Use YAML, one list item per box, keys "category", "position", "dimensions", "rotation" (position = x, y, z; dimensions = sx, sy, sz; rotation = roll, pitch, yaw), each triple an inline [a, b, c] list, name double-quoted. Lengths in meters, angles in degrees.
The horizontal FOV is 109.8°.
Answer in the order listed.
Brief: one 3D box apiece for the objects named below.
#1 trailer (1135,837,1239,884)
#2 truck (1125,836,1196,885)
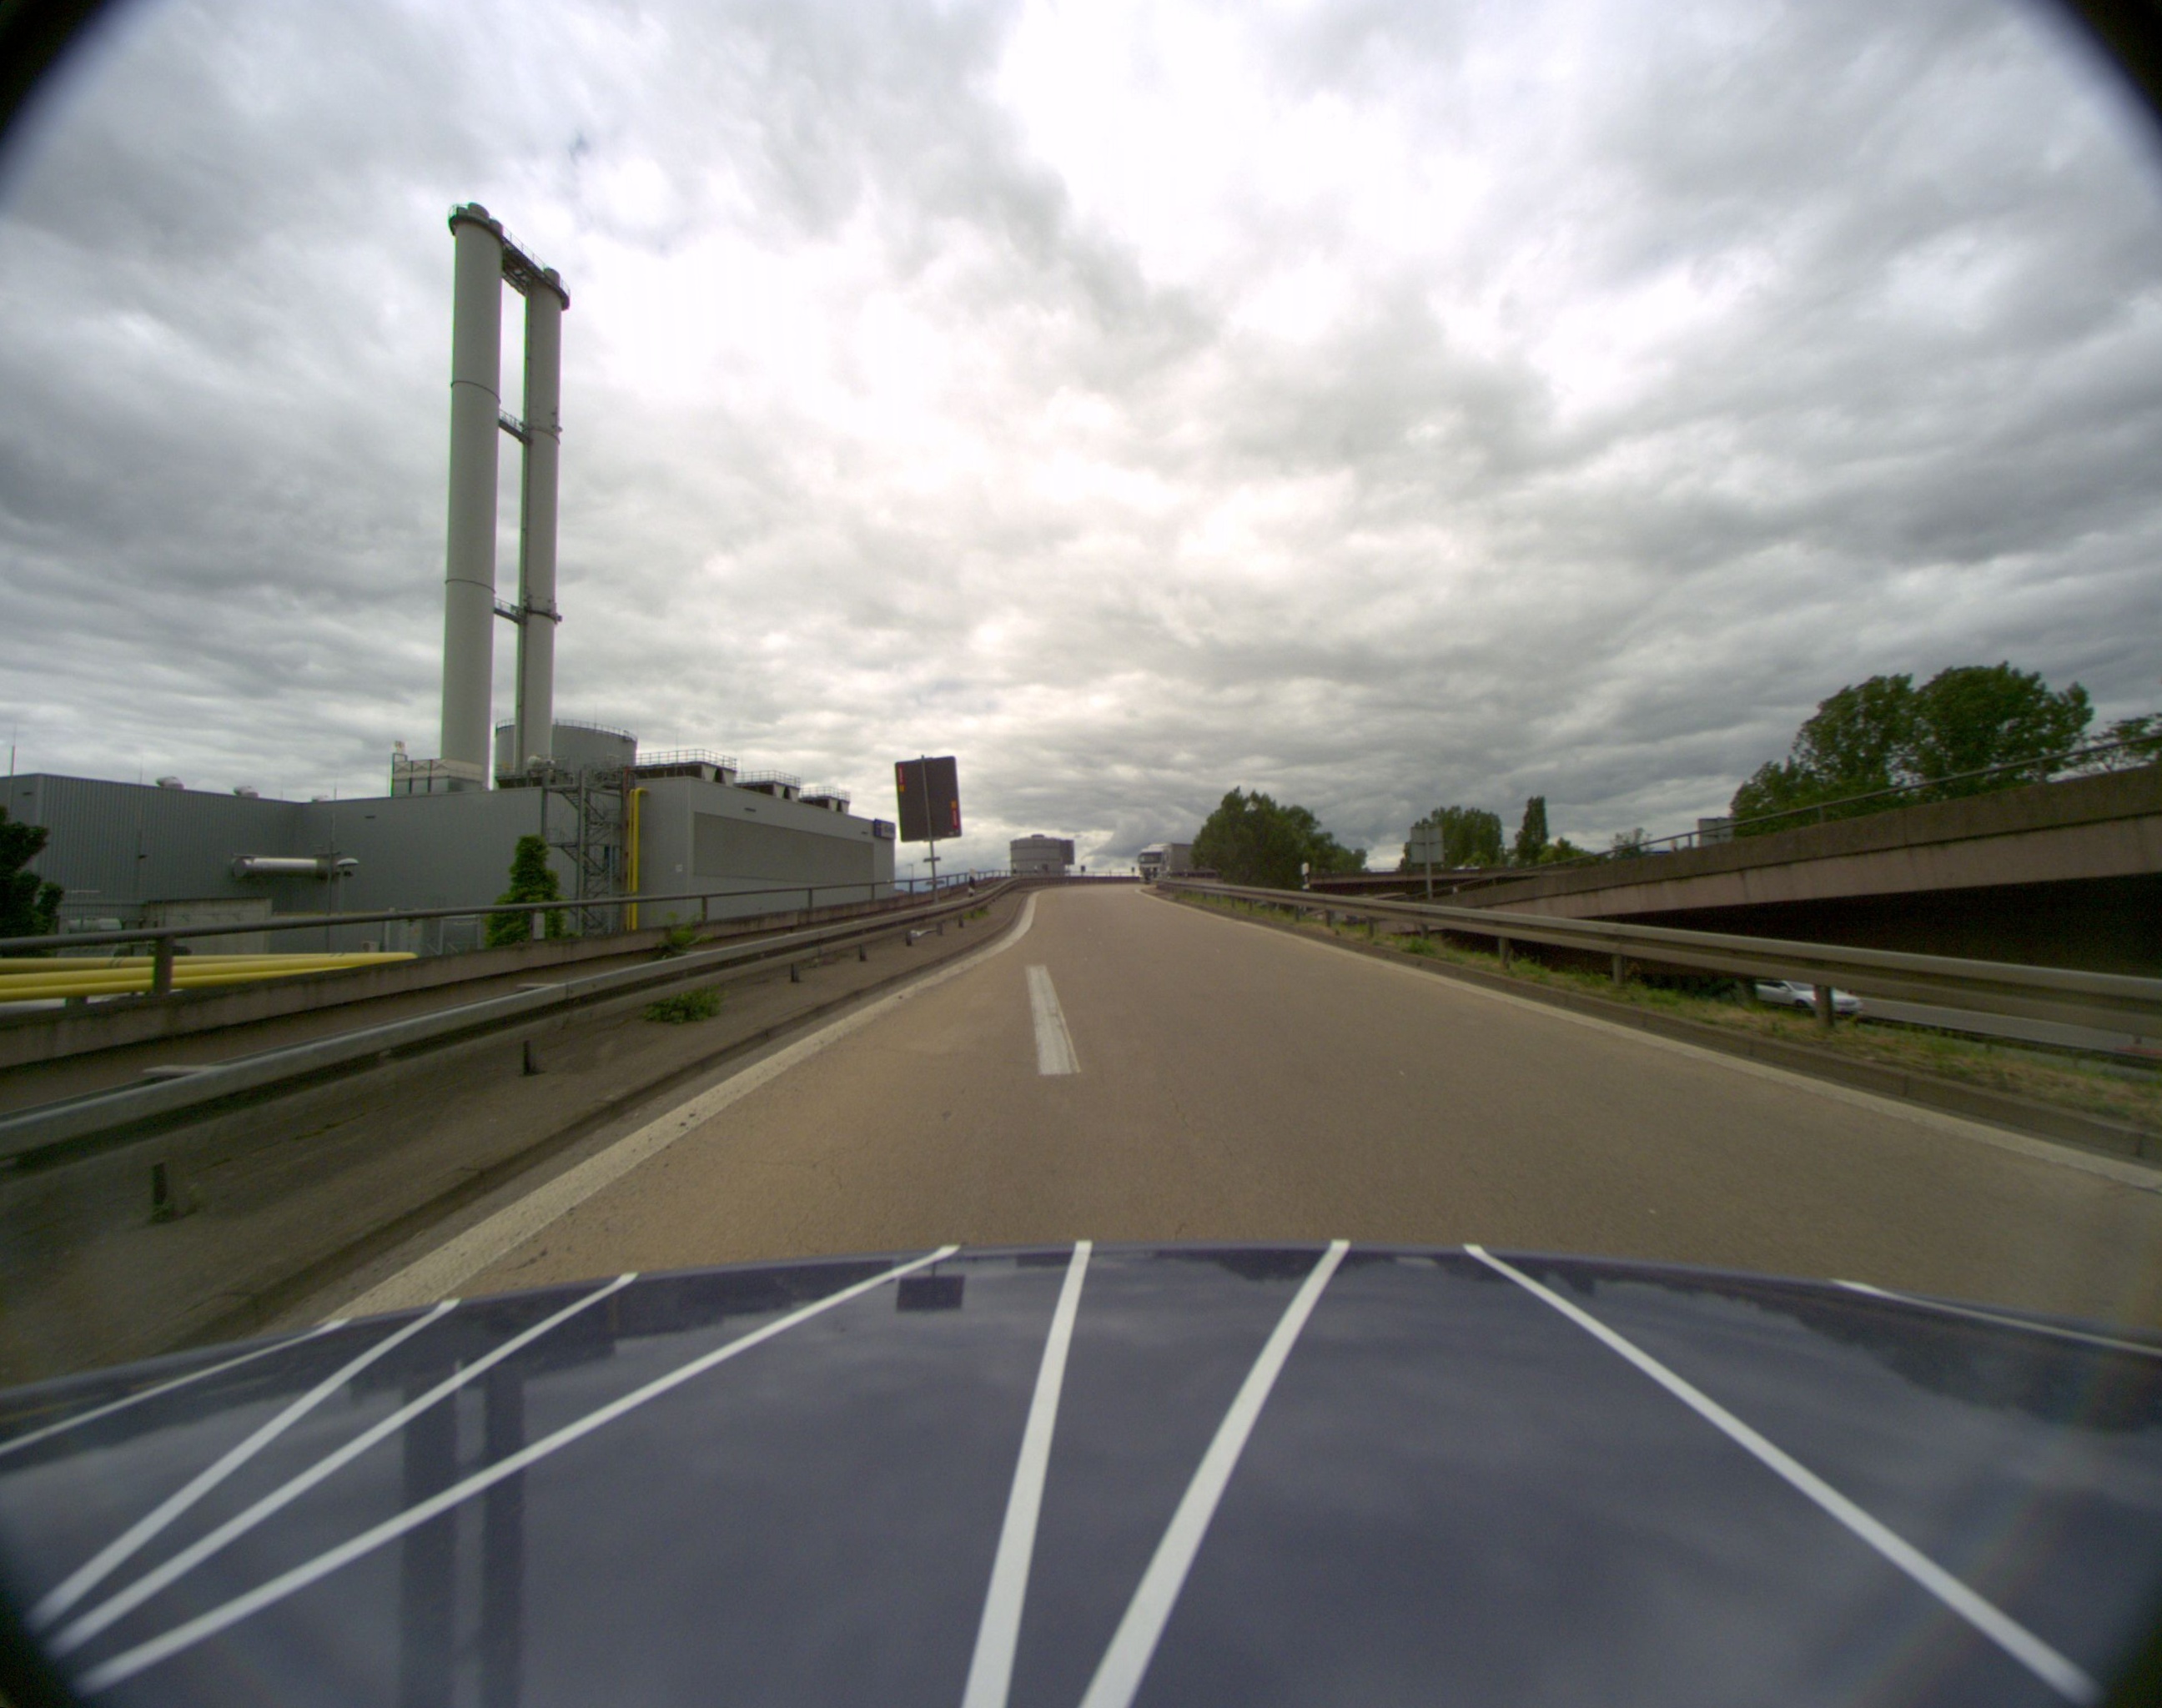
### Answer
- category: "trailer"
  position: [11.087, 0.831, 77.311]
  dimensions: [4.118, 4.217, 13.924]
  rotation: [-4, -4, 36]
- category: "truck"
  position: [7.672, 0.722, 72.489]
  dimensions: [4.157, 4.275, 5.979]
  rotation: [-4, -4, 36]
